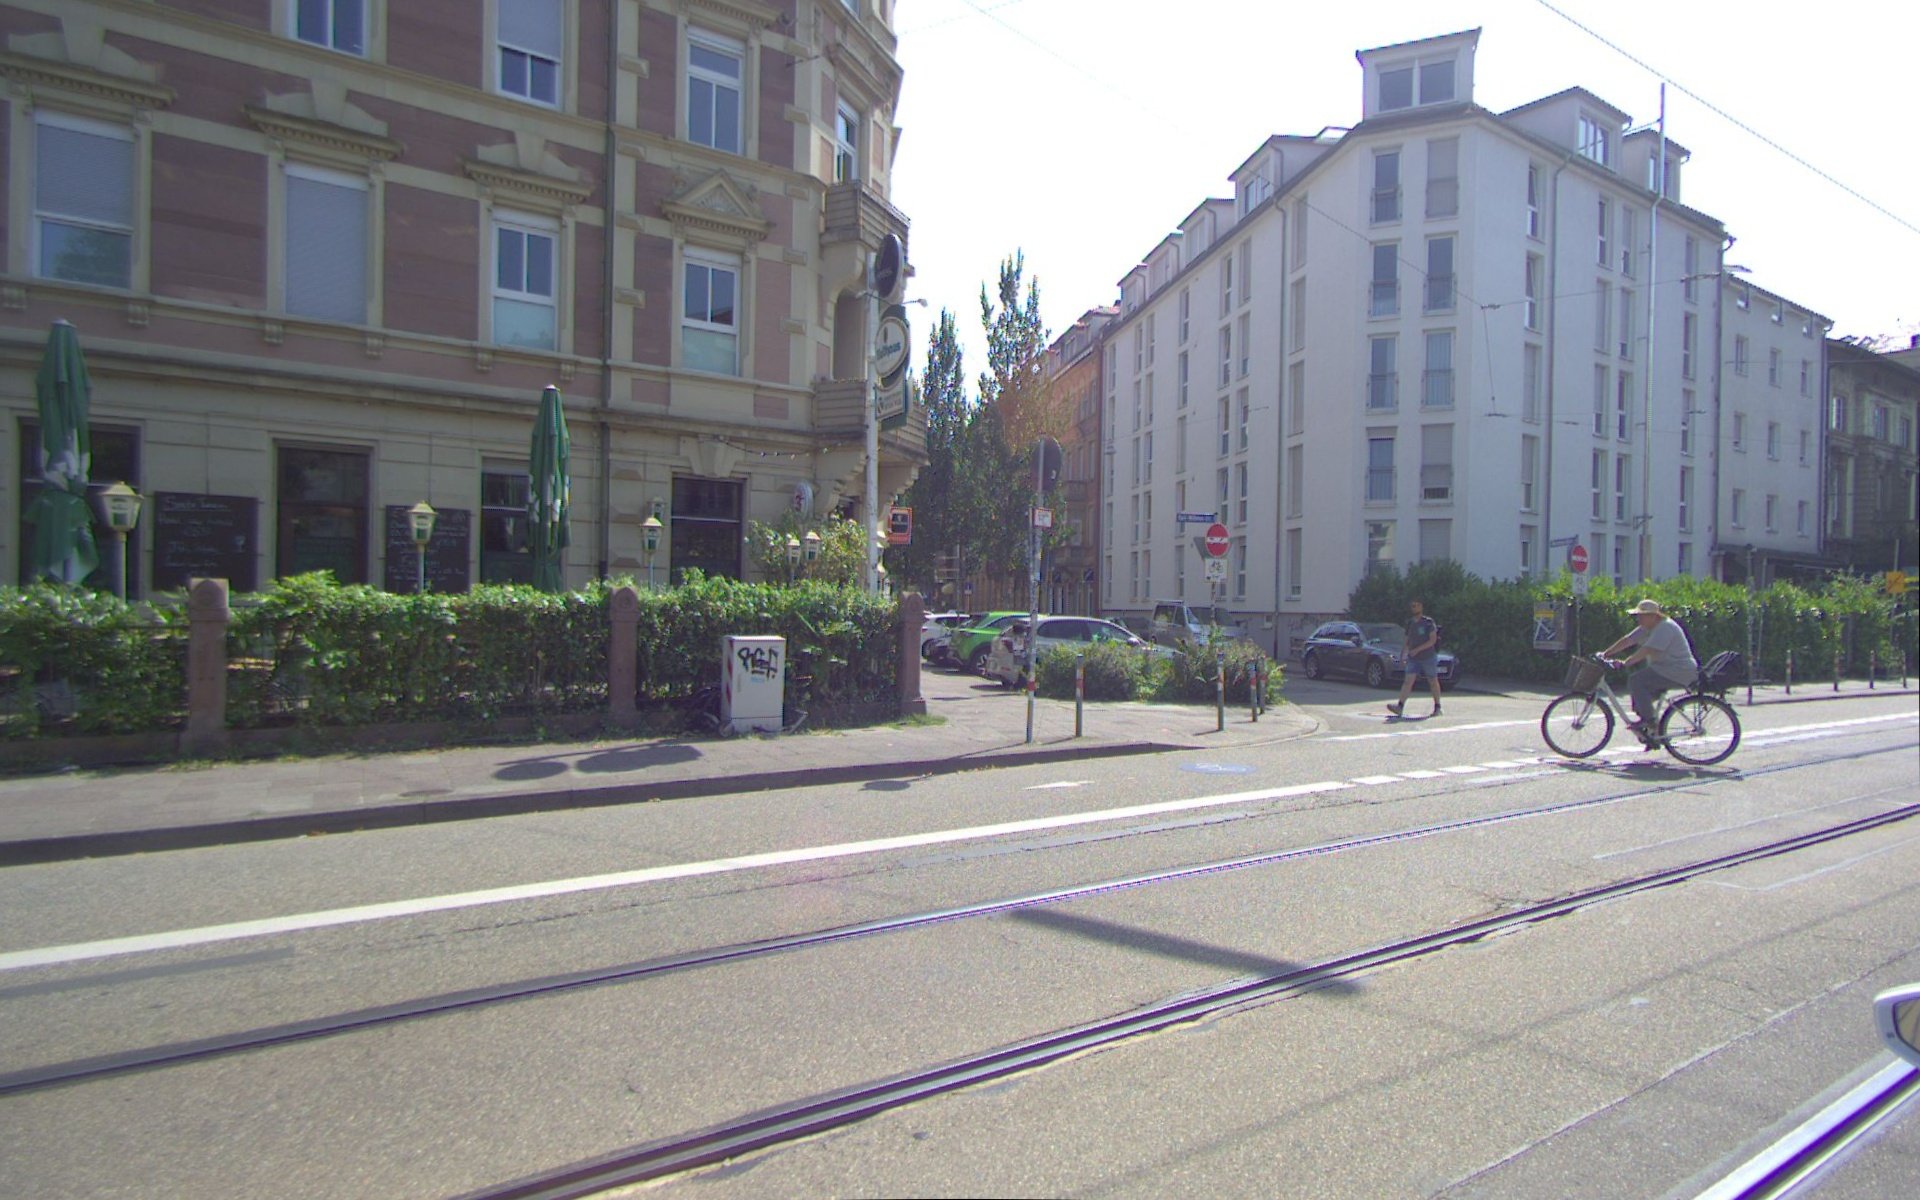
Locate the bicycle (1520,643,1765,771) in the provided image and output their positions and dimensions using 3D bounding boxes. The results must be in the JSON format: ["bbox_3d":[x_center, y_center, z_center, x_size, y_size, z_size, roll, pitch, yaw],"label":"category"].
[{"bbox_3d":[7.100,1.080,10.586,2.002,1.166,0.785,1,0,24],"label":"bicycle"}]

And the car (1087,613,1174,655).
[{"bbox_3d":[6.507,1.269,38.831,1.946,1.518,4.144,1,-1,-12],"label":"car"}]

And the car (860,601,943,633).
[{"bbox_3d":[-2.794,0.812,47.547,3.729,1.433,1.689,1,-1,-11],"label":"car"}]

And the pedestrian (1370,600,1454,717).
[{"bbox_3d":[7.178,0.907,15.945,1.029,1.779,0.775,1,-1,-32],"label":"pedestrian"}]

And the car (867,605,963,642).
[{"bbox_3d":[-1.865,0.946,40.930,3.729,1.433,1.689,1,-1,-11],"label":"car"}]

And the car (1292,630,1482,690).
[{"bbox_3d":[9.645,1.318,23.088,1.965,1.200,4.235,1,-1,-12],"label":"car"}]

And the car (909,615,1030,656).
[{"bbox_3d":[0.281,1.148,32.796,3.729,1.282,1.689,1,-1,-11],"label":"car"}]

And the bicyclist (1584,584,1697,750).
[{"bbox_3d":[7.134,0.670,10.573,0.810,1.665,0.785,1,0,22],"label":"bicyclist"}]

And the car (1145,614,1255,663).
[{"bbox_3d":[7.848,1.242,33.246,1.946,1.518,4.144,1,-1,-12],"label":"car"}]

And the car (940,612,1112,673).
[{"bbox_3d":[1.518,0.994,23.620,3.746,1.360,1.689,1,-1,-11],"label":"car"}]

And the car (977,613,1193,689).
[{"bbox_3d":[2.320,0.958,19.095,3.746,1.360,1.689,1,-1,-11],"label":"car"}]

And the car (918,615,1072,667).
[{"bbox_3d":[0.874,1.058,26.051,3.729,1.282,1.689,1,-1,-11],"label":"car"}]
